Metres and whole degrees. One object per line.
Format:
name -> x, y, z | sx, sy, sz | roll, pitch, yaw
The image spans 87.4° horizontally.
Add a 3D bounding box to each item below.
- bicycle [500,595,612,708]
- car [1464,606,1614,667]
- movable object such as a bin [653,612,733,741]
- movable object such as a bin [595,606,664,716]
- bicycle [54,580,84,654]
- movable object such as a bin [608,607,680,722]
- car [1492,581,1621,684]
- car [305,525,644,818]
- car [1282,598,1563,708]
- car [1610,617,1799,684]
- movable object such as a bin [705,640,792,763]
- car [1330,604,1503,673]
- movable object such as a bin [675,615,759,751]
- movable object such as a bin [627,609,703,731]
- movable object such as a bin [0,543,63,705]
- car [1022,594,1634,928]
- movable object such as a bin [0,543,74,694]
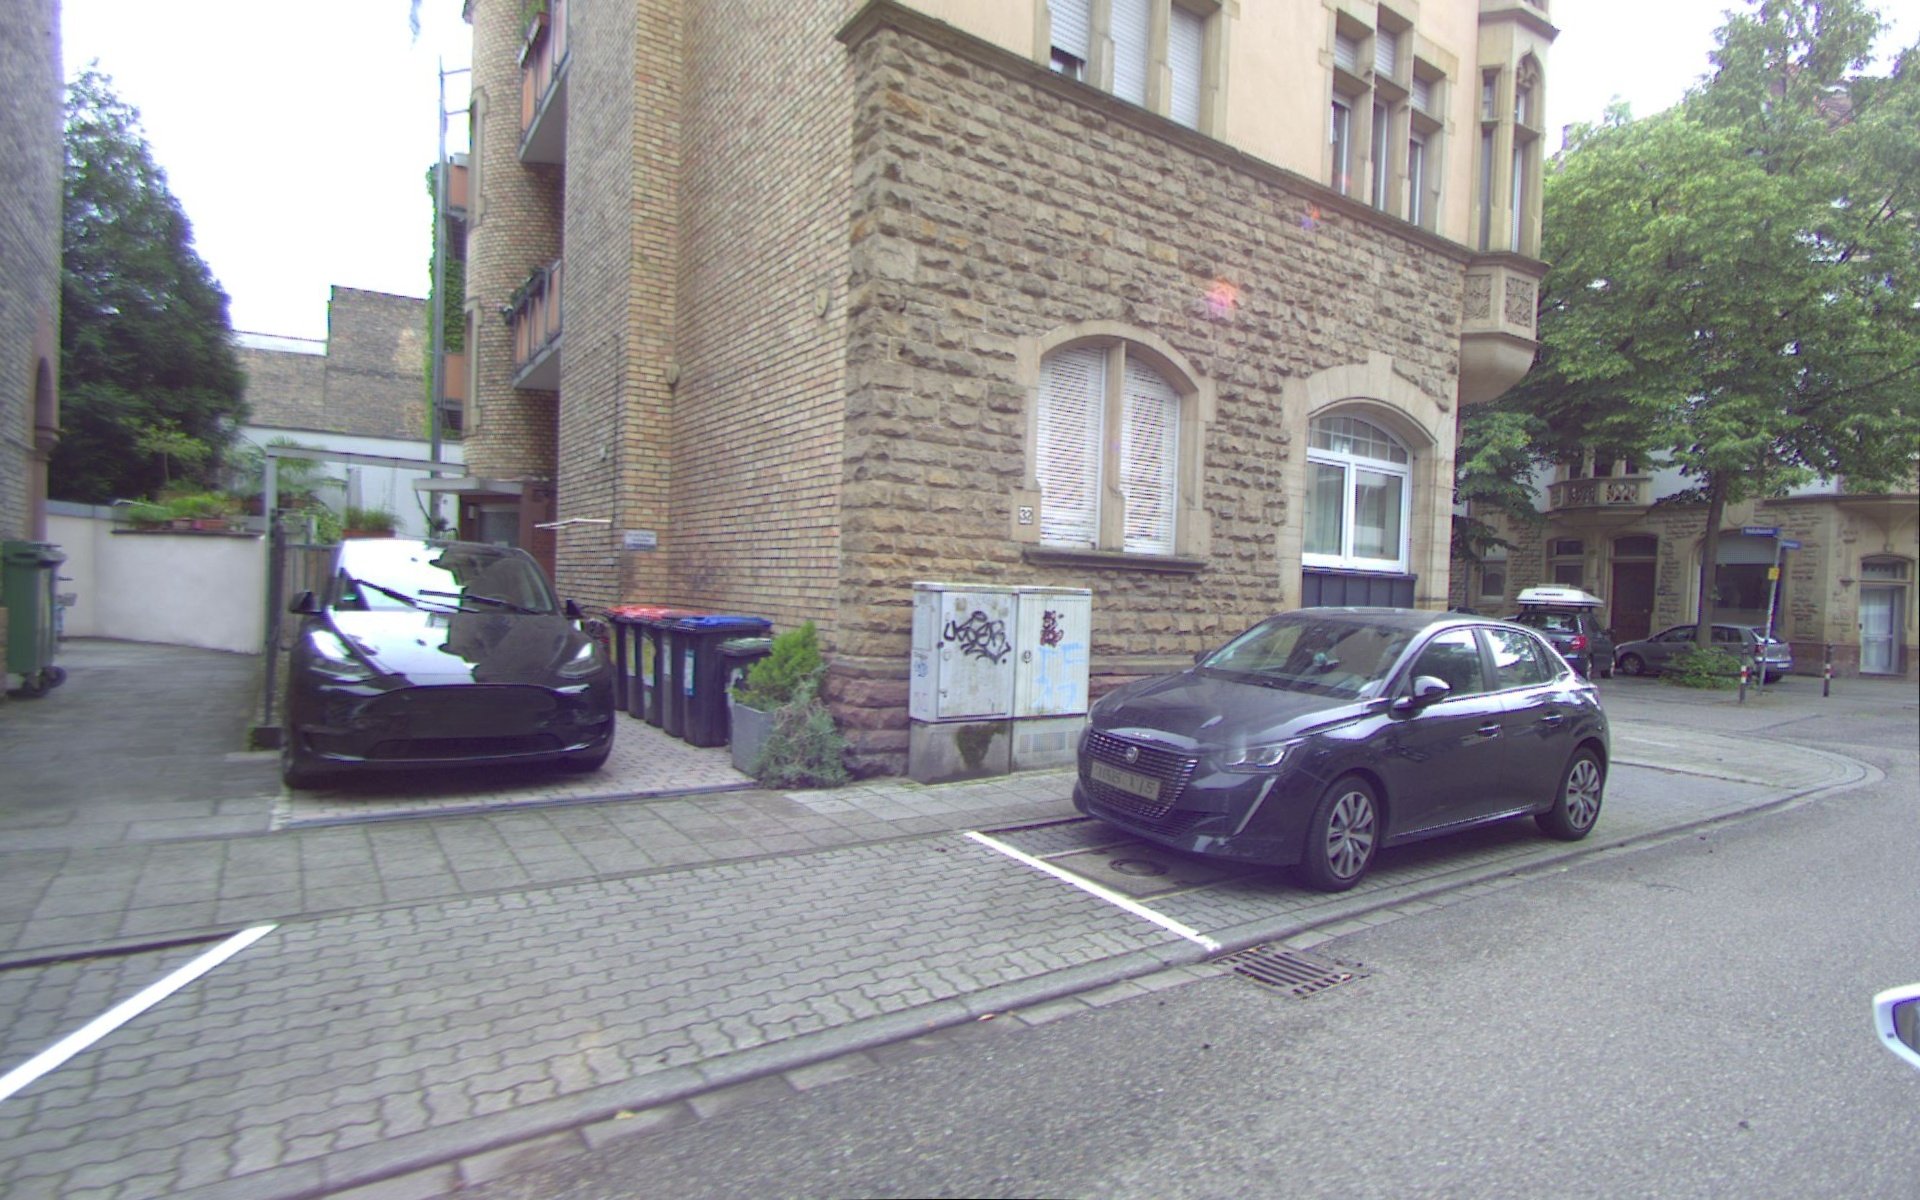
bicycle -> -4.696, 0.529, 11.554 | 0.570, 1.106, 2.626 | 1, 1, -35
car -> 17.037, 1.038, 29.733 | 1.628, 1.479, 3.479 | 3, 1, -25
movable object such as a bin -> -2.351, 0.655, 8.843 | 0.546, 1.077, 0.436 | 1, 1, -34
movable object such as a bin -> -3.368, 0.609, 10.239 | 0.546, 1.077, 0.436 | 1, 1, -34
bicycle -> -13.060, 0.233, 14.721 | 0.305, 1.022, 1.381 | 1, 1, -42
movable object such as a bin -> -3.093, 0.618, 9.823 | 0.546, 1.077, 0.436 | 1, 1, -34
car -> 13.093, 0.663, 21.934 | 1.805, 1.994, 3.944 | 2, 1, 39
car -> -3.858, 0.355, 7.572 | 1.749, 1.585, 3.962 | 1, 1, -34
car -> 7.808, 0.831, 17.417 | 1.642, 1.485, 4.254 | 6, -1, -27
car -> 18.942, 1.228, 25.711 | 1.627, 1.480, 3.557 | -1, 1, -25
movable object such as a bin -> -1.688, 0.790, 8.018 | 0.546, 0.916, 0.412 | 1, 1, -34
car -> 11.396, 0.930, 25.236 | 3.541, 1.536, 1.654 | 2, 1, 1
movable object such as a bin -> -2.035, 0.679, 8.402 | 0.546, 1.077, 0.436 | 1, 1, -34
movable object such as a bin -> -2.749, 0.638, 9.350 | 0.546, 1.077, 0.436 | 1, 1, -34
movable object such as a bin -> -8.120, 0.203, 8.687 | 0.471, 1.365, 0.412 | 1, 1, -34
car -> 2.454, 0.765, 6.393 | 3.842, 1.453, 1.716 | 1, 3, -35
movable object such as a bin -> -8.607, 0.164, 9.342 | 0.471, 1.365, 0.412 | 1, 1, -34
